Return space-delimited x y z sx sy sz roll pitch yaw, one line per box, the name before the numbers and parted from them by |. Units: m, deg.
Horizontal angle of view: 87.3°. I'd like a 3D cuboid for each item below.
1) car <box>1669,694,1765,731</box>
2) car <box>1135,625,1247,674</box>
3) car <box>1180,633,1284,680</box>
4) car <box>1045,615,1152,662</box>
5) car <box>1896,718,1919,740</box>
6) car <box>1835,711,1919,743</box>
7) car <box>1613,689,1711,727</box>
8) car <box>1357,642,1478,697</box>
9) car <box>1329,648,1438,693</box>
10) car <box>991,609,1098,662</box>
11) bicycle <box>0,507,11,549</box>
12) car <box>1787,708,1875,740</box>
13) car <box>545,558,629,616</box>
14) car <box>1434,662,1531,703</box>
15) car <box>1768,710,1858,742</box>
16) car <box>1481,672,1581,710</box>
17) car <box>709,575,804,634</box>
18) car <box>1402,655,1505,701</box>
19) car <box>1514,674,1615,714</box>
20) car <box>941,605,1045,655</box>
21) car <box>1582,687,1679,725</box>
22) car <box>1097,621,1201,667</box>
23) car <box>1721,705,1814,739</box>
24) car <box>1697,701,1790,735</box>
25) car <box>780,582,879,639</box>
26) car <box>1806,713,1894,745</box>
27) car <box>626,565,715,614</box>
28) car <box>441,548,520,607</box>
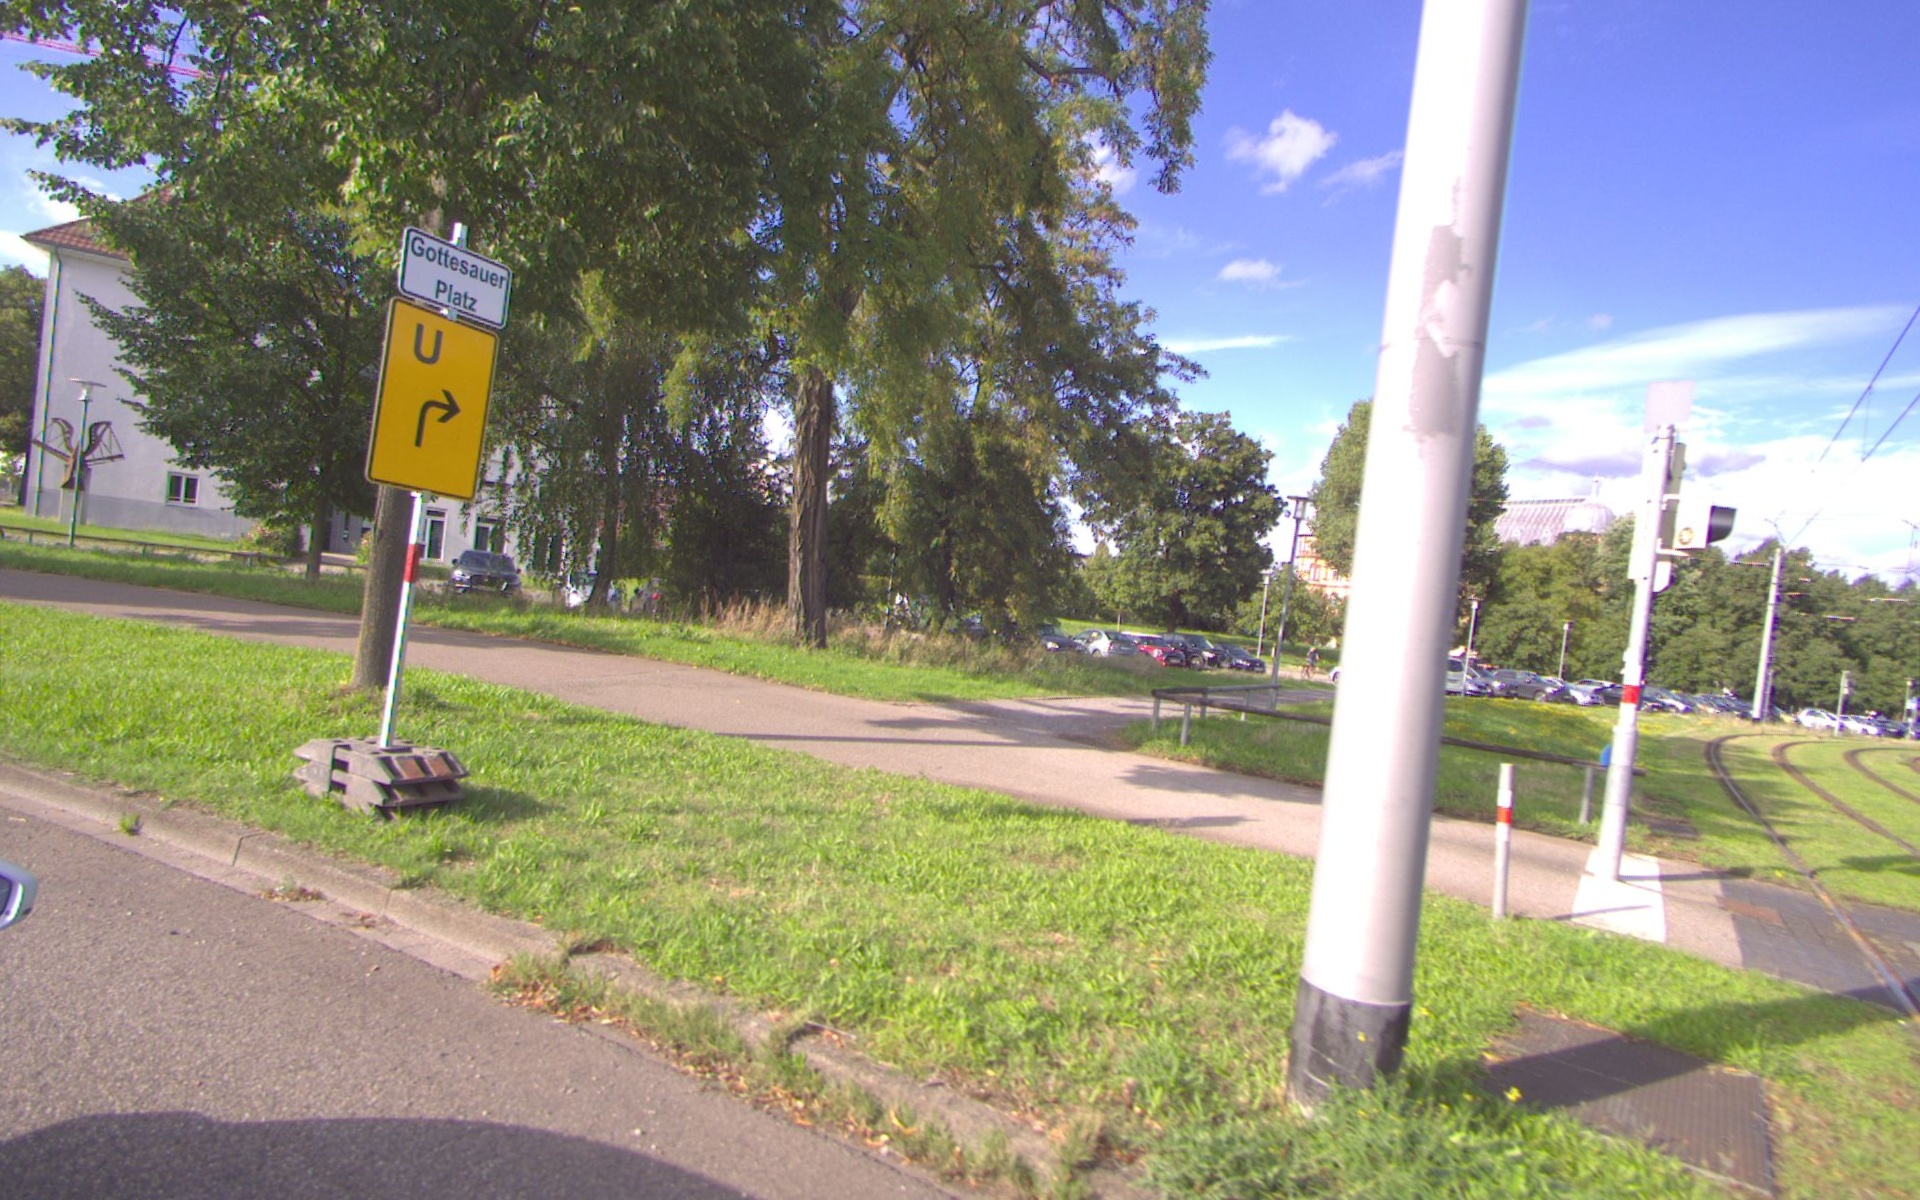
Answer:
car | 47.930 7.113 63.828 1.835 1.560 4.444 6 0 -23
car | 9.752 2.064 42.850 1.838 1.534 4.912 6 0 -26
car | 11.891 2.444 44.271 1.838 1.534 4.439 6 0 -27
car | 5.540 1.530 40.947 1.838 1.375 4.802 6 0 -26
car | 75.988 10.295 78.059 1.831 1.560 4.453 6 0 -16
car | 68.451 9.449 74.984 1.831 1.560 4.453 6 0 -16
car | 42.286 6.470 60.686 1.835 1.560 4.444 6 0 -23
car | 22.614 3.407 49.952 2.286 2.032 5.084 6 0 -23
car | 20.301 3.357 48.410 1.843 1.534 4.428 6 0 -34
car | 3.214 1.350 39.269 1.838 1.534 4.716 6 0 -26
bicycle | -27.732 -2.138 27.695 2.120 1.151 0.769 7 0 -20
car | 63.335 9.011 73.240 1.831 1.560 4.453 6 0 -16
car | -11.683 -0.449 31.316 1.838 1.458 4.702 6 0 -26
car | 27.161 4.291 52.436 2.007 1.534 4.095 6 0 -19
car | 60.561 8.924 71.529 1.777 1.494 4.440 6 0 -26
car | 30.911 4.898 54.618 1.836 1.416 4.444 6 0 -23
car | -6.863 0.098 33.506 1.838 1.534 4.702 6 0 -26
car | 25.181 3.964 51.549 2.072 1.695 4.450 6 0 -19
car | 33.392 5.163 55.680 1.836 1.523 4.444 6 0 -23
car | 1.164 1.096 38.054 1.838 1.376 4.702 6 0 -26
car | 39.812 6.295 59.884 1.779 1.534 4.444 6 0 -23
car | 7.817 1.810 42.019 1.838 1.379 4.439 6 0 -27
car | 54.475 8.200 67.984 1.835 1.560 4.444 6 0 -23
car | 52.009 7.806 66.840 1.835 1.560 4.444 6 0 -23
car | -4.595 0.324 34.761 1.838 1.534 4.702 6 0 -26
car | 65.701 9.500 74.354 1.831 1.560 4.453 6 0 -16
car | -9.358 -0.380 32.233 1.838 1.222 4.702 6 0 -26
car | -14.134 -0.707 29.629 1.838 1.398 4.485 6 0 -27
